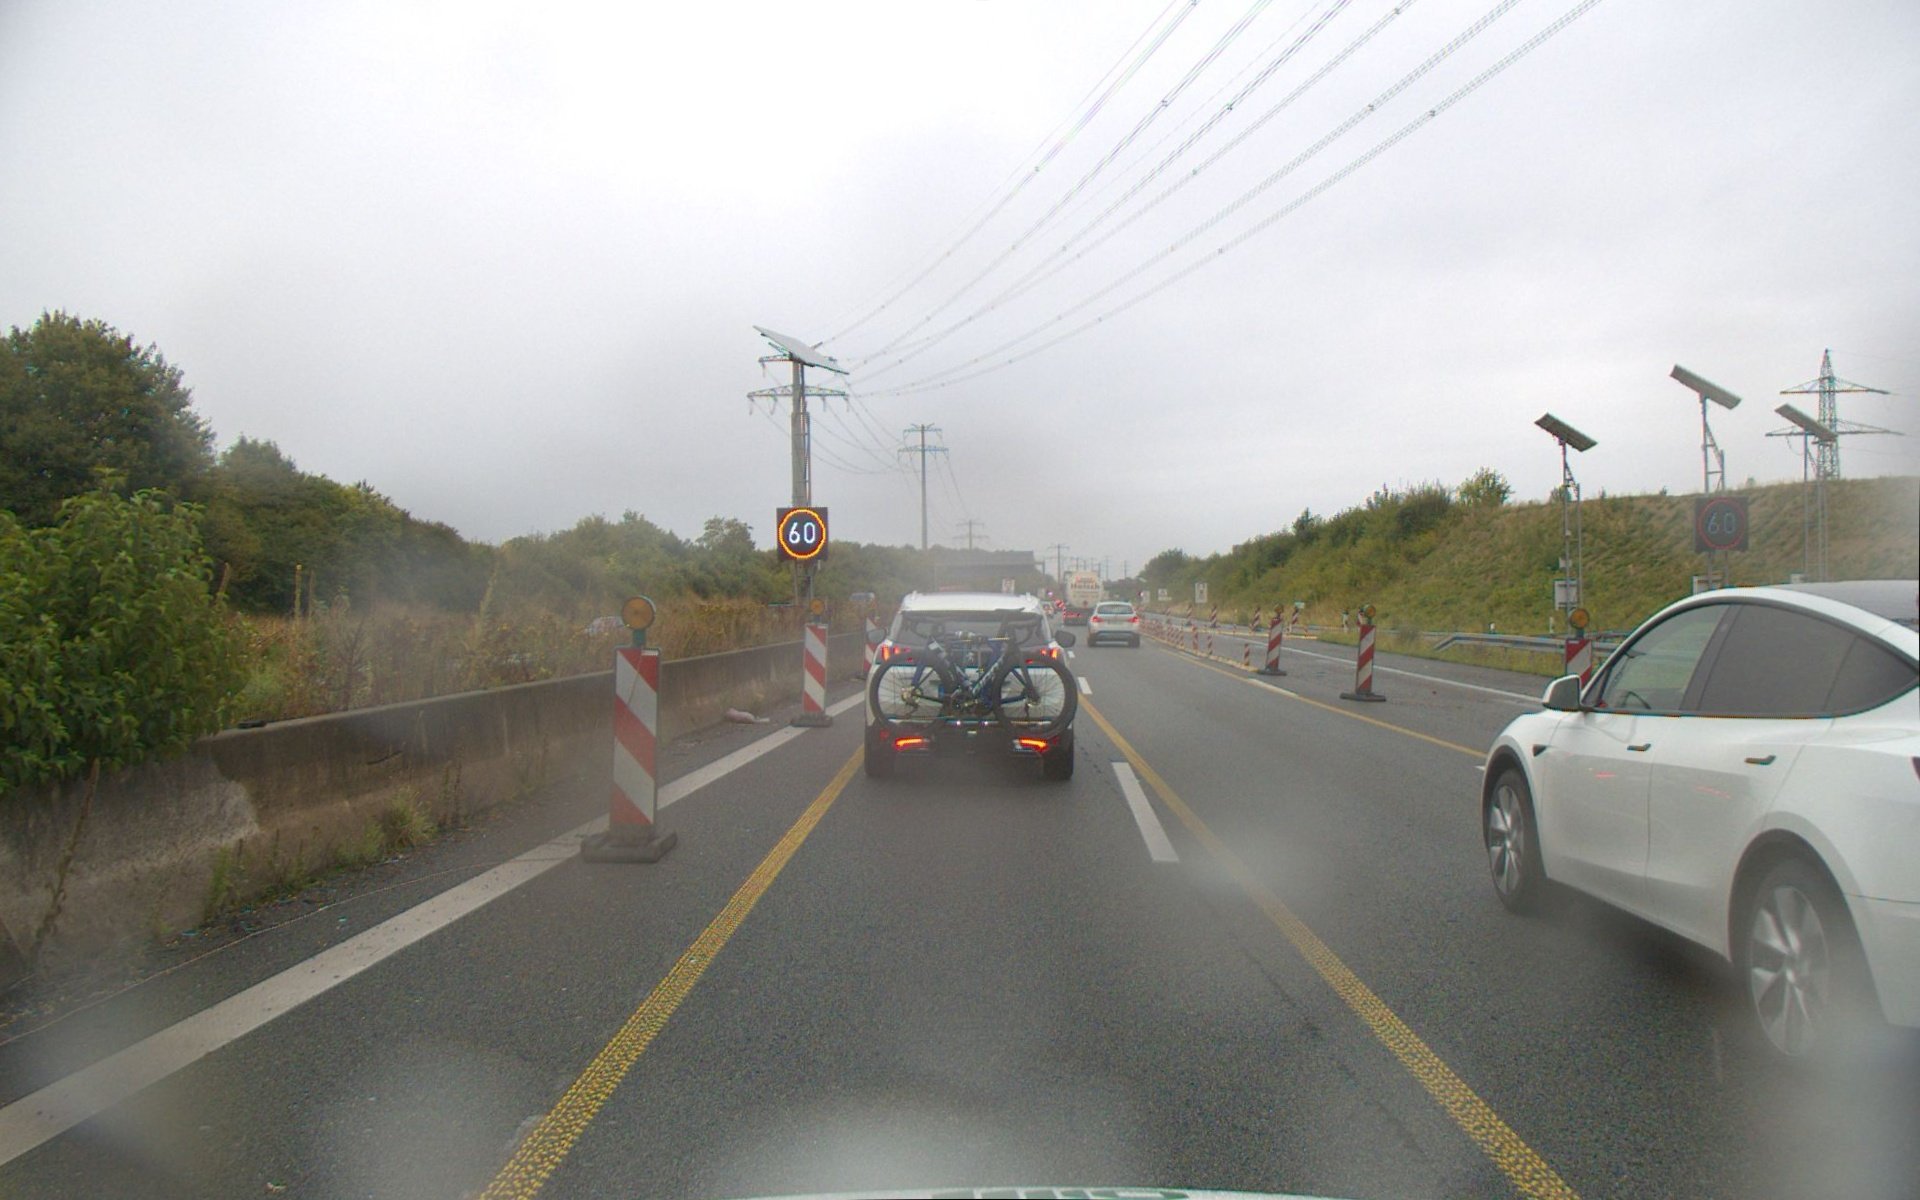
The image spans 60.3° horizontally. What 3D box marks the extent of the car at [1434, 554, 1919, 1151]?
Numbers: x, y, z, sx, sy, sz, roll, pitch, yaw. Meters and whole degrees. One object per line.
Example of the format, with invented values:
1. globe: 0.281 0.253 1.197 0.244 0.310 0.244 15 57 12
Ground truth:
1. car: 3.627 0.708 6.244 2.004 1.624 5.801 1 0 0

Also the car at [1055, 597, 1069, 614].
1. car: 12.210 0.665 198.288 1.619 2.049 4.002 0 0 4

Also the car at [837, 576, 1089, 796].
1. car: 0.117 0.647 14.766 1.888 1.639 4.596 0 0 2

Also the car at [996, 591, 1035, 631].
1. car: 2.982 0.583 89.456 1.953 2.049 4.000 -1 0 0

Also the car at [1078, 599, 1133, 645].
1. car: 5.062 0.748 57.951 1.831 1.561 4.198 0 0 3

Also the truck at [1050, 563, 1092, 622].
1. truck: 7.730 -0.492 115.522 2.590 3.959 4.029 1 -1 0

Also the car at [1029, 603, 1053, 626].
1. car: 7.371 1.305 150.368 1.953 2.049 4.000 1 -1 0

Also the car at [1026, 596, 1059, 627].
1. car: 5.466 0.768 110.315 1.953 2.049 4.000 1 0 0

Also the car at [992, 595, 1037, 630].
1. car: 2.538 0.559 77.378 1.953 1.611 4.000 0 0 0

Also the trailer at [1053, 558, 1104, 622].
1. trailer: 7.727 -0.574 109.109 2.584 3.961 10.542 1 -1 0
